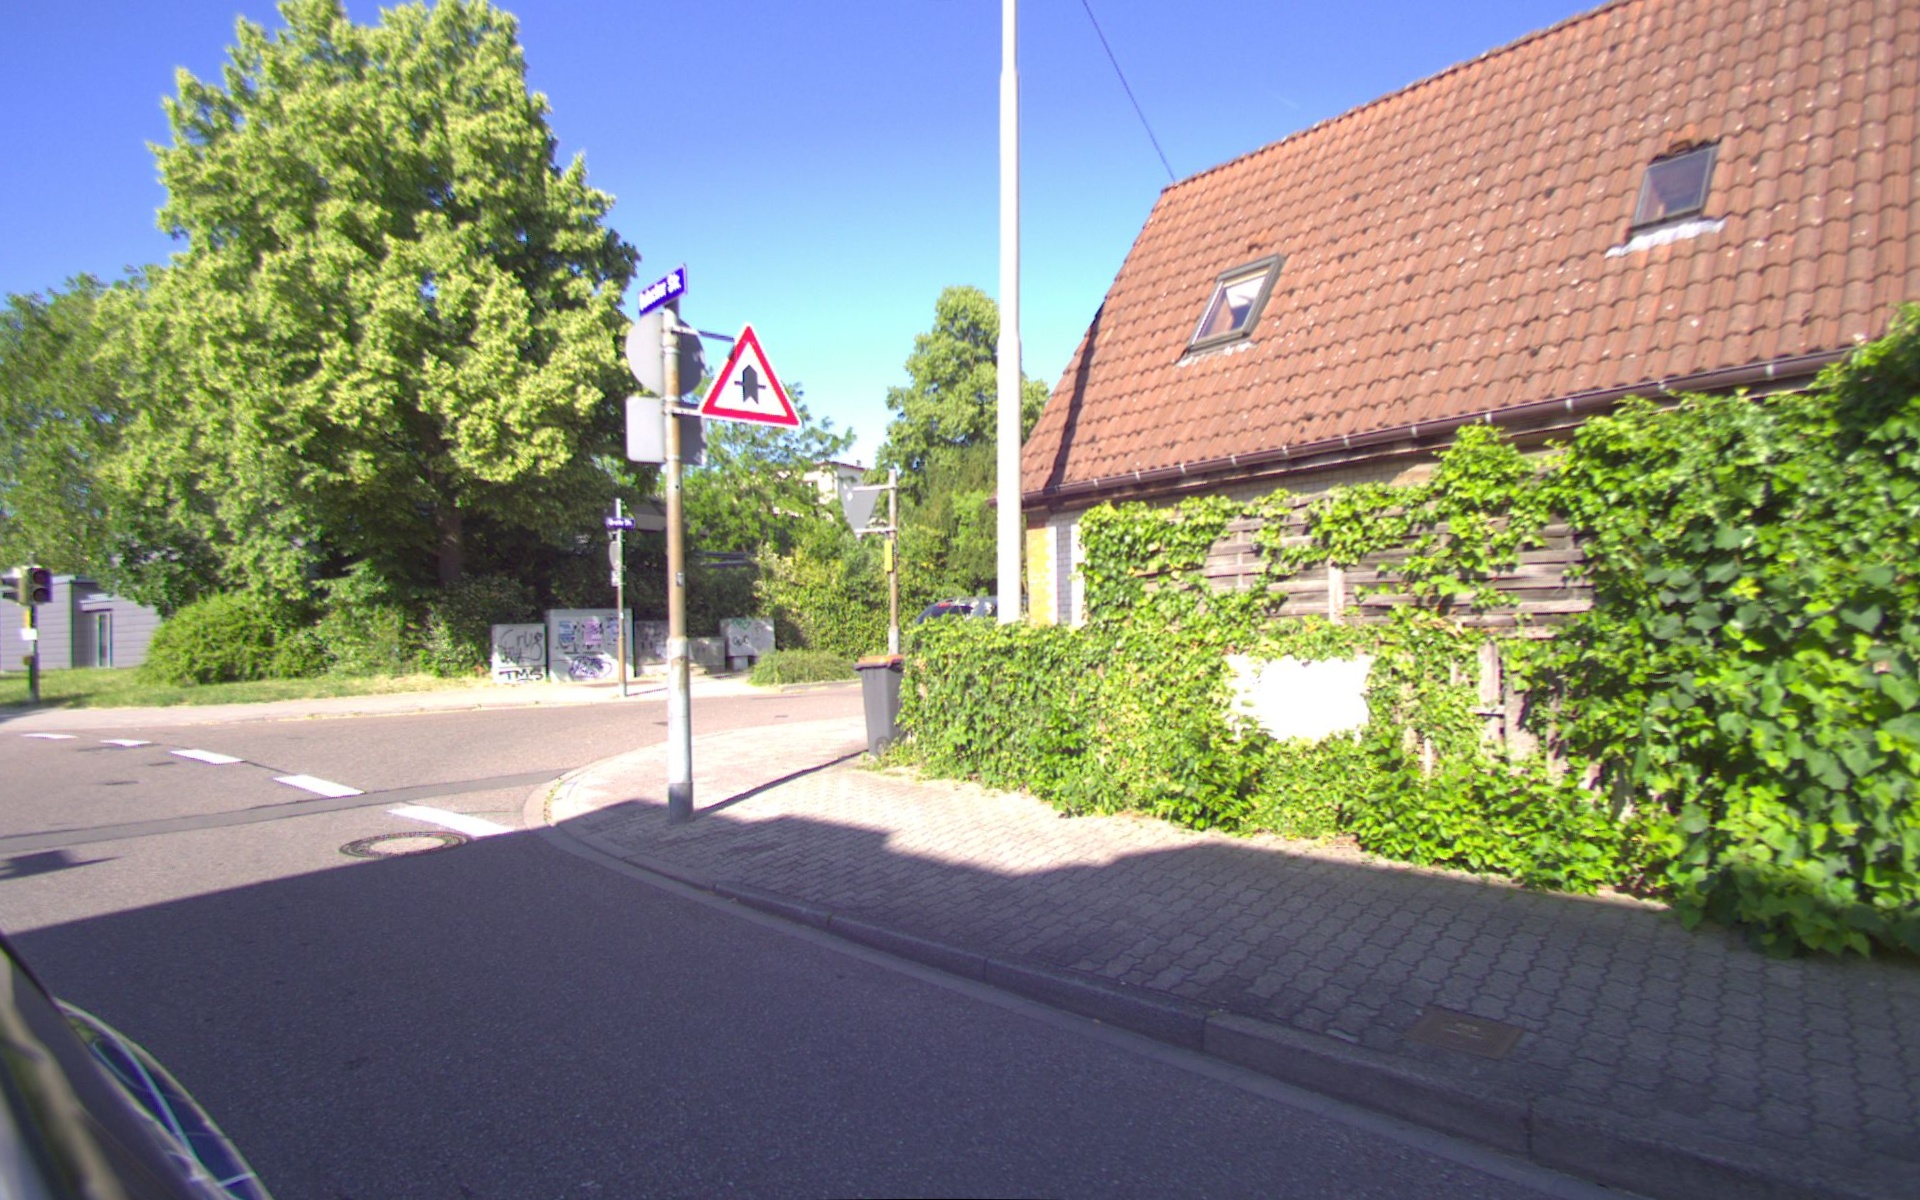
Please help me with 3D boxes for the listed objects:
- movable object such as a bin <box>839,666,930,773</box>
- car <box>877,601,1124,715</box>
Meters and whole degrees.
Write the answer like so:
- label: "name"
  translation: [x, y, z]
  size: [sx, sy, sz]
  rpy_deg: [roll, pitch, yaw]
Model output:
- label: "movable object such as a bin"
  translation: [-0.705, 1.088, 9.387]
  size: [0.549, 0.932, 0.626]
  rpy_deg: [1, -4, -43]
- label: "car"
  translation: [0.794, 0.926, 17.568]
  size: [4.171, 1.738, 1.947]
  rpy_deg: [1, -2, -44]
